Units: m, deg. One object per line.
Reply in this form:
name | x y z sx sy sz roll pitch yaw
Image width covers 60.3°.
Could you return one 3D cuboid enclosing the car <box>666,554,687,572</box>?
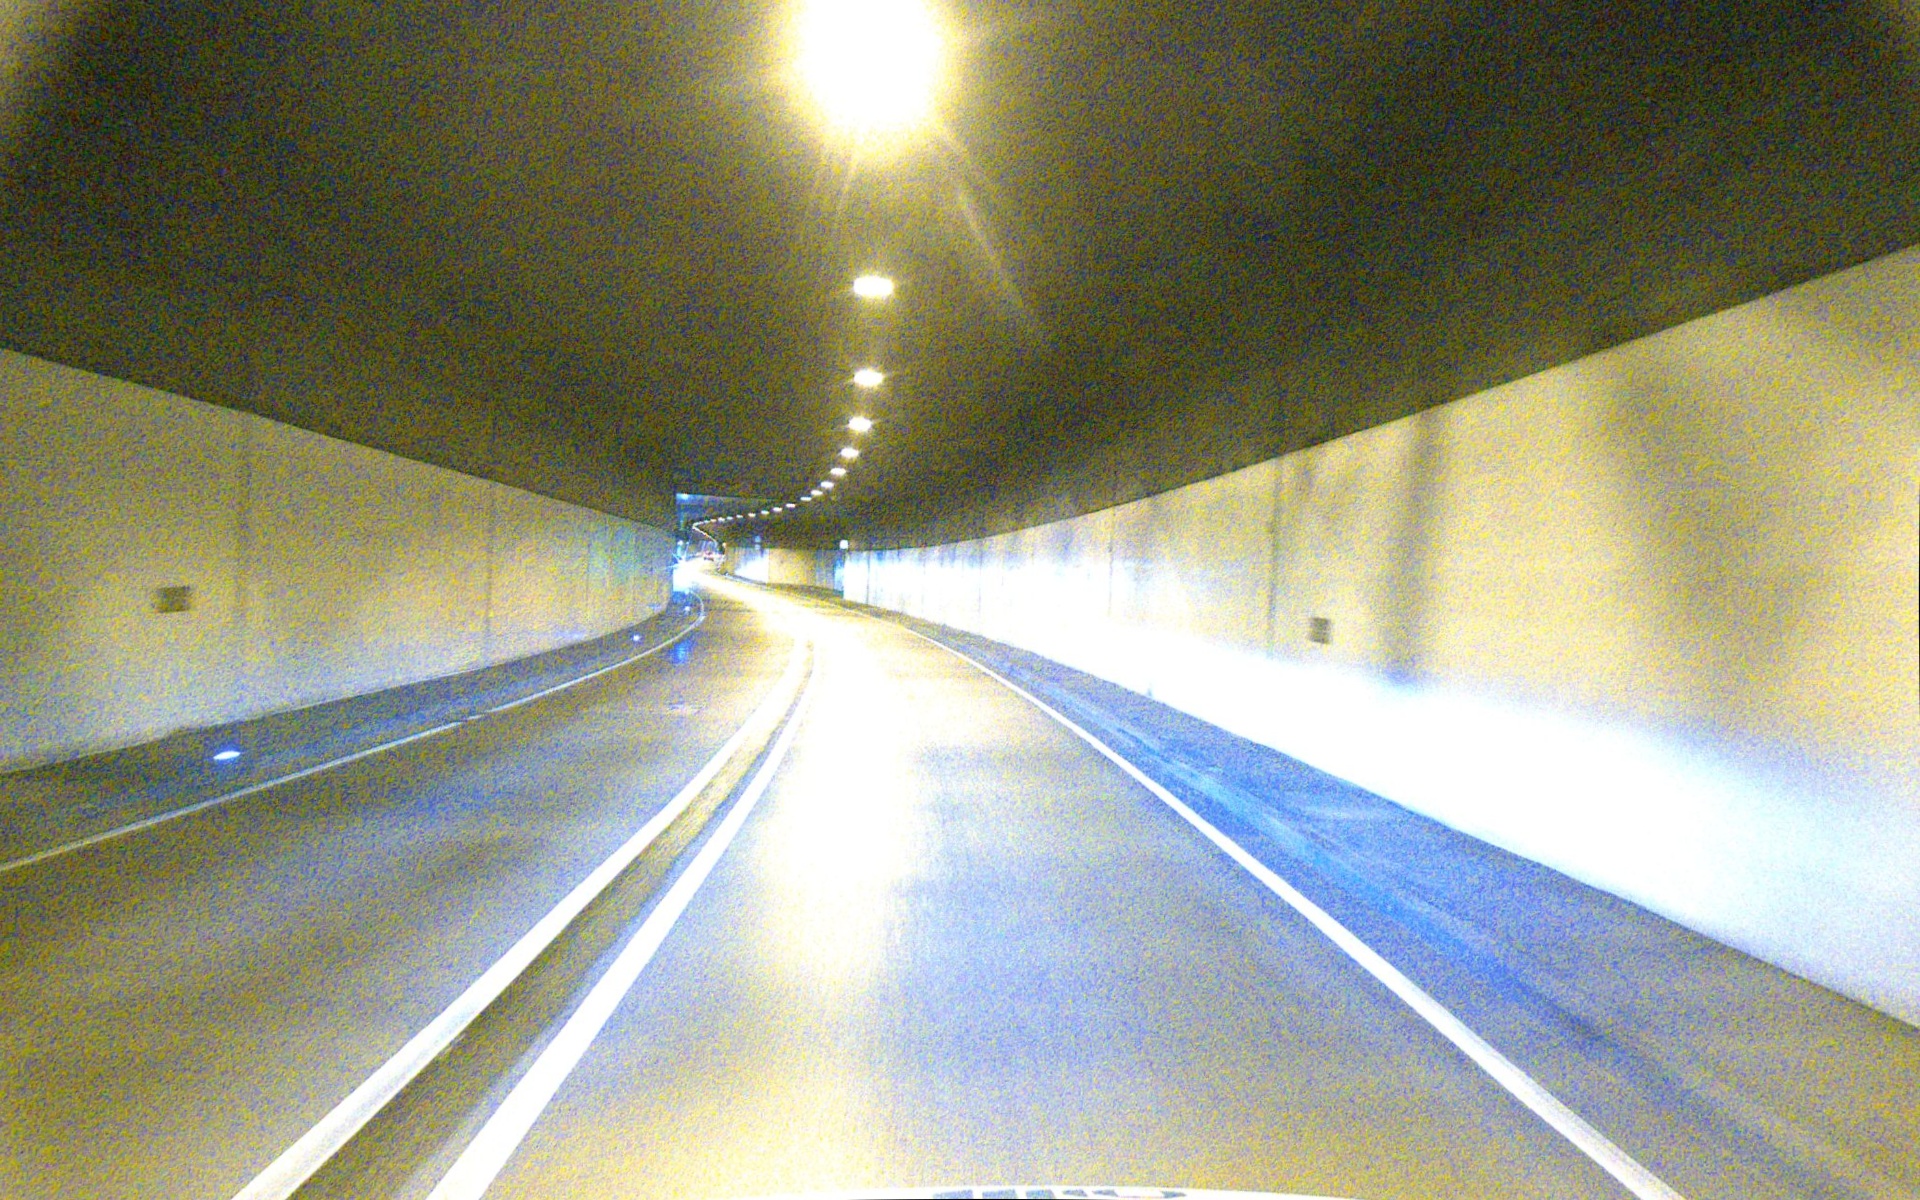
car | -29.075 -3.789 169.664 1.958 1.624 3.989 3 -1 -11
